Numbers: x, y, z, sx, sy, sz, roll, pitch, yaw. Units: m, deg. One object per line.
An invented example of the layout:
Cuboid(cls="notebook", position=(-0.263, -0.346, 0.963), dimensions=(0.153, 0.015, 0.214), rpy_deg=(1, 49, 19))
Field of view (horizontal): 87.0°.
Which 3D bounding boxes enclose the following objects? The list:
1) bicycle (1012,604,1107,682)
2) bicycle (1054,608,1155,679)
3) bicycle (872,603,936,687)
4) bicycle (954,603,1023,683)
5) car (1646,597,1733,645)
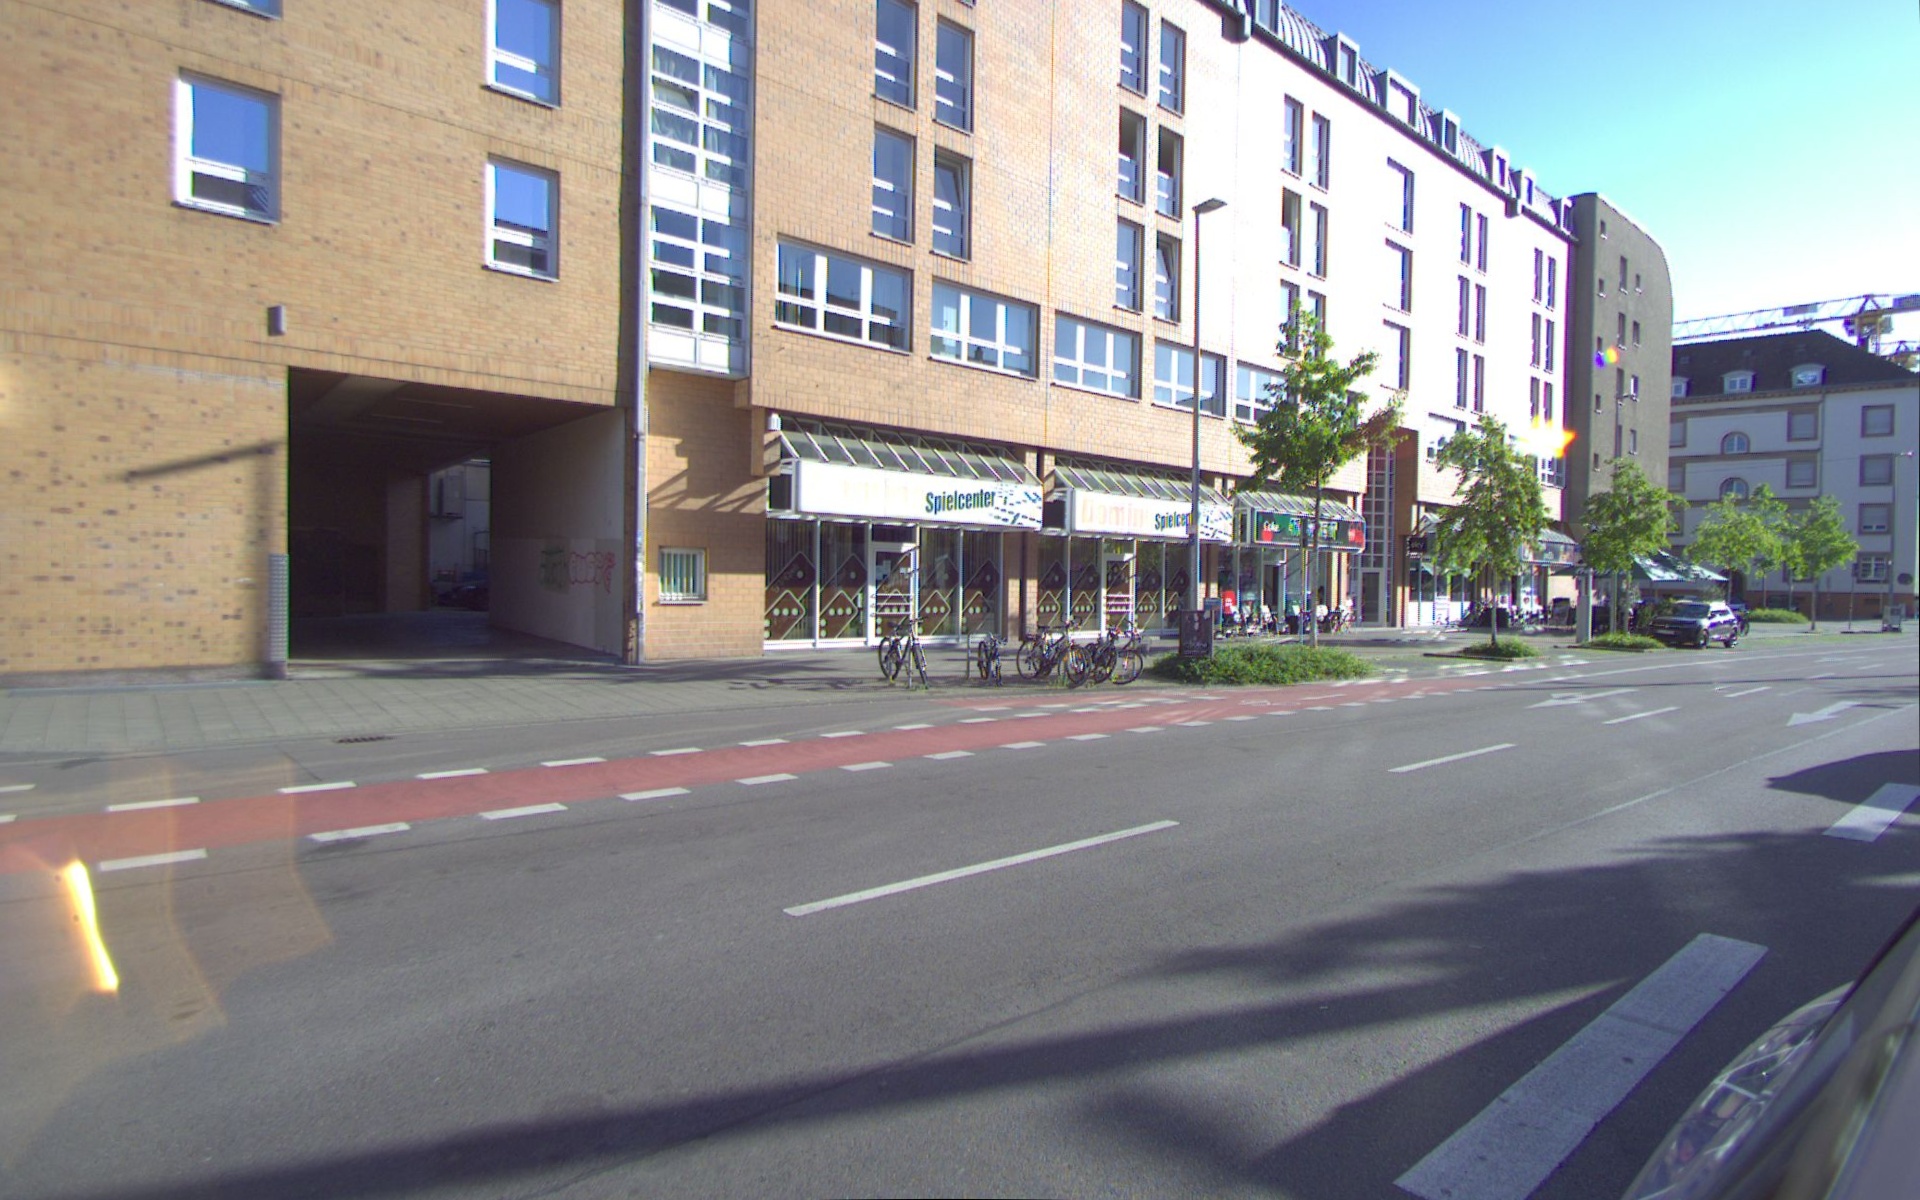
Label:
Cuboid(cls="bicycle", position=(1.673, 0.703, 17.234), dimensions=(0.543, 1.155, 1.775), rpy_deg=(-1, 3, -37))
Cuboid(cls="bicycle", position=(2.549, 0.747, 18.070), dimensions=(0.724, 1.084, 1.775), rpy_deg=(-1, 3, -37))
Cuboid(cls="bicycle", position=(-0.922, 0.688, 16.292), dimensions=(0.541, 1.162, 1.780), rpy_deg=(0, 3, -20))
Cuboid(cls="bicycle", position=(0.445, 0.676, 16.762), dimensions=(0.541, 1.162, 1.780), rpy_deg=(0, 3, -20))
Cuboid(cls="car", position=(25.532, 0.687, 35.381), dimensions=(3.628, 1.549, 1.654), rpy_deg=(-1, 0, -40))
